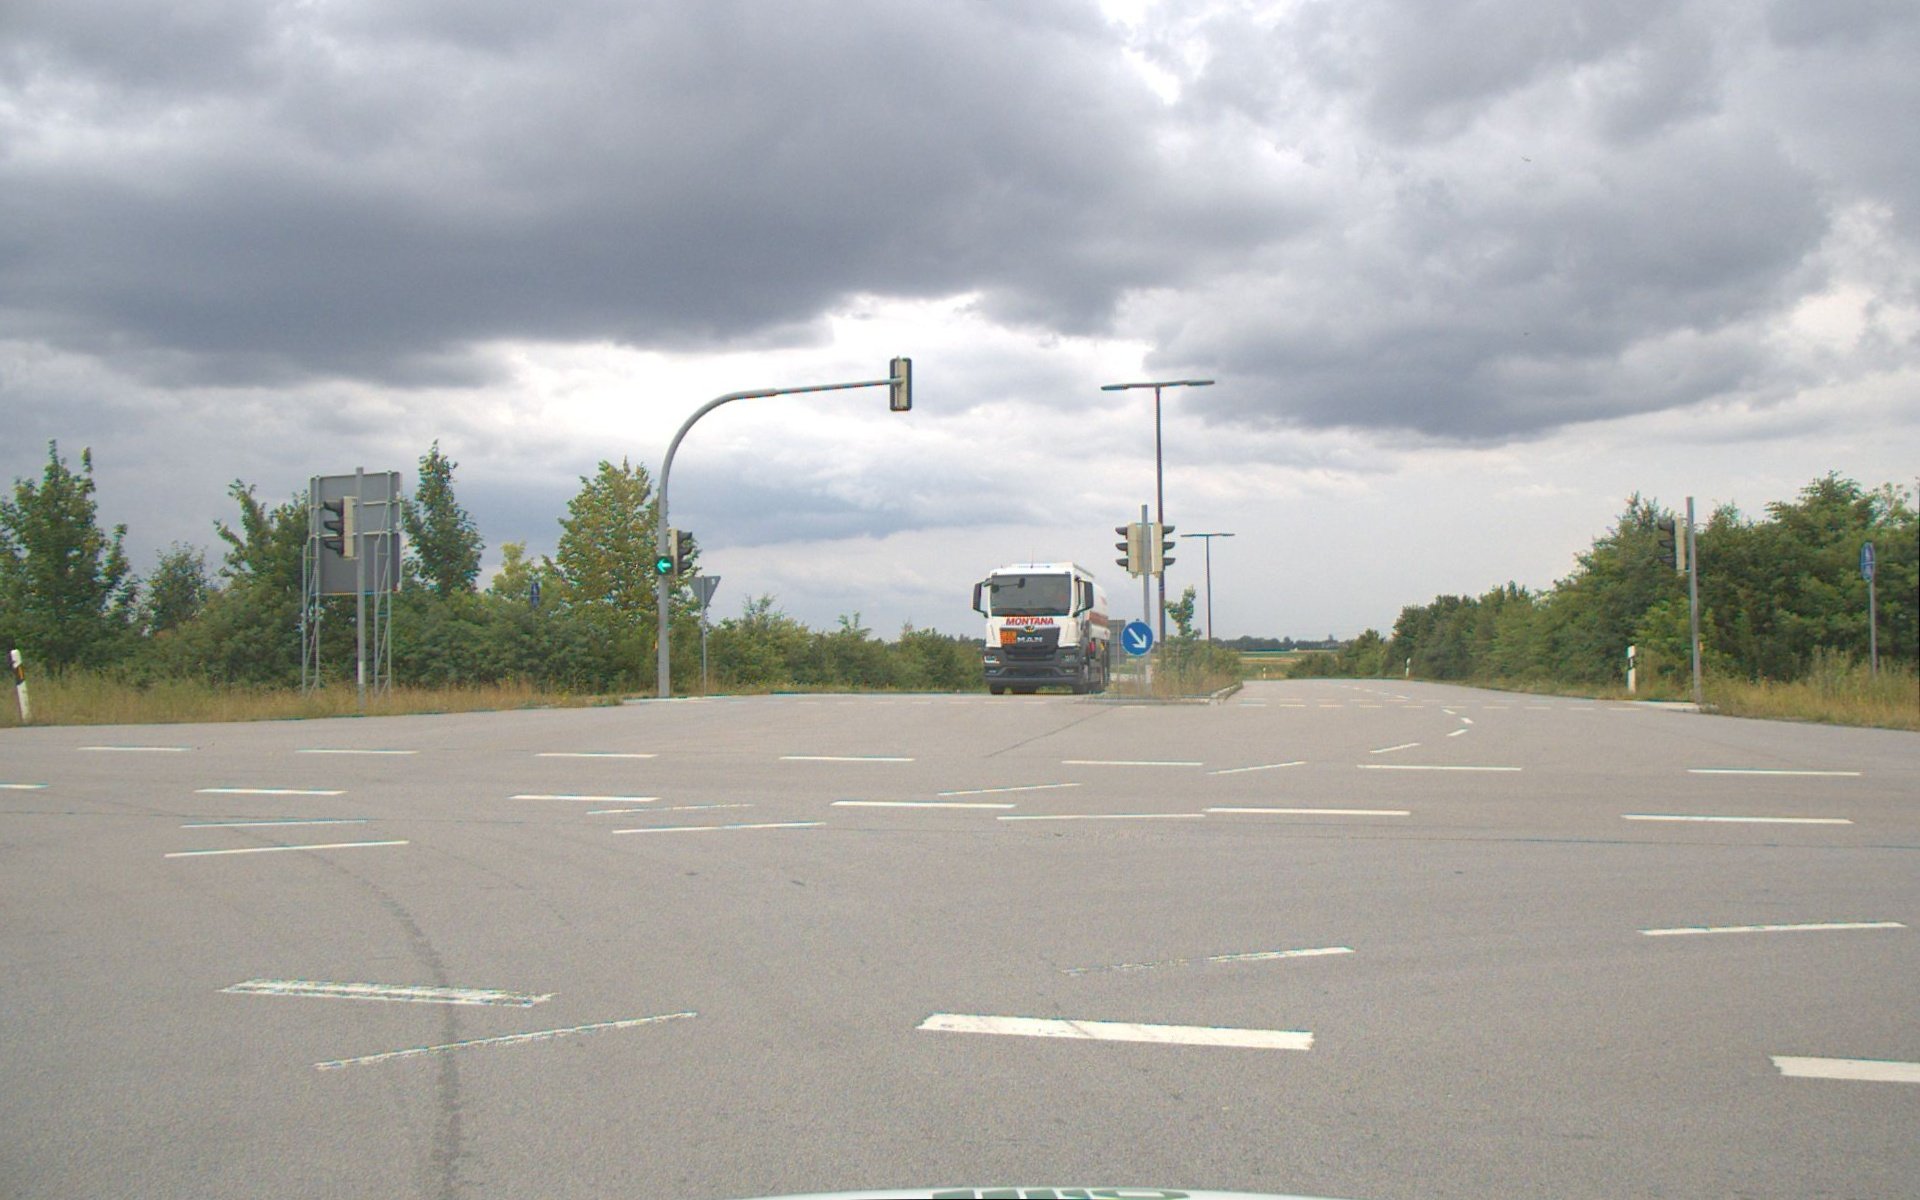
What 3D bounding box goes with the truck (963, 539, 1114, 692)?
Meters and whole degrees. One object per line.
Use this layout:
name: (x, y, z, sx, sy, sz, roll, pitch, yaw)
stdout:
truck: (2.204, 0.532, 42.758, 2.808, 3.468, 8.656, -2, -3, 9)
